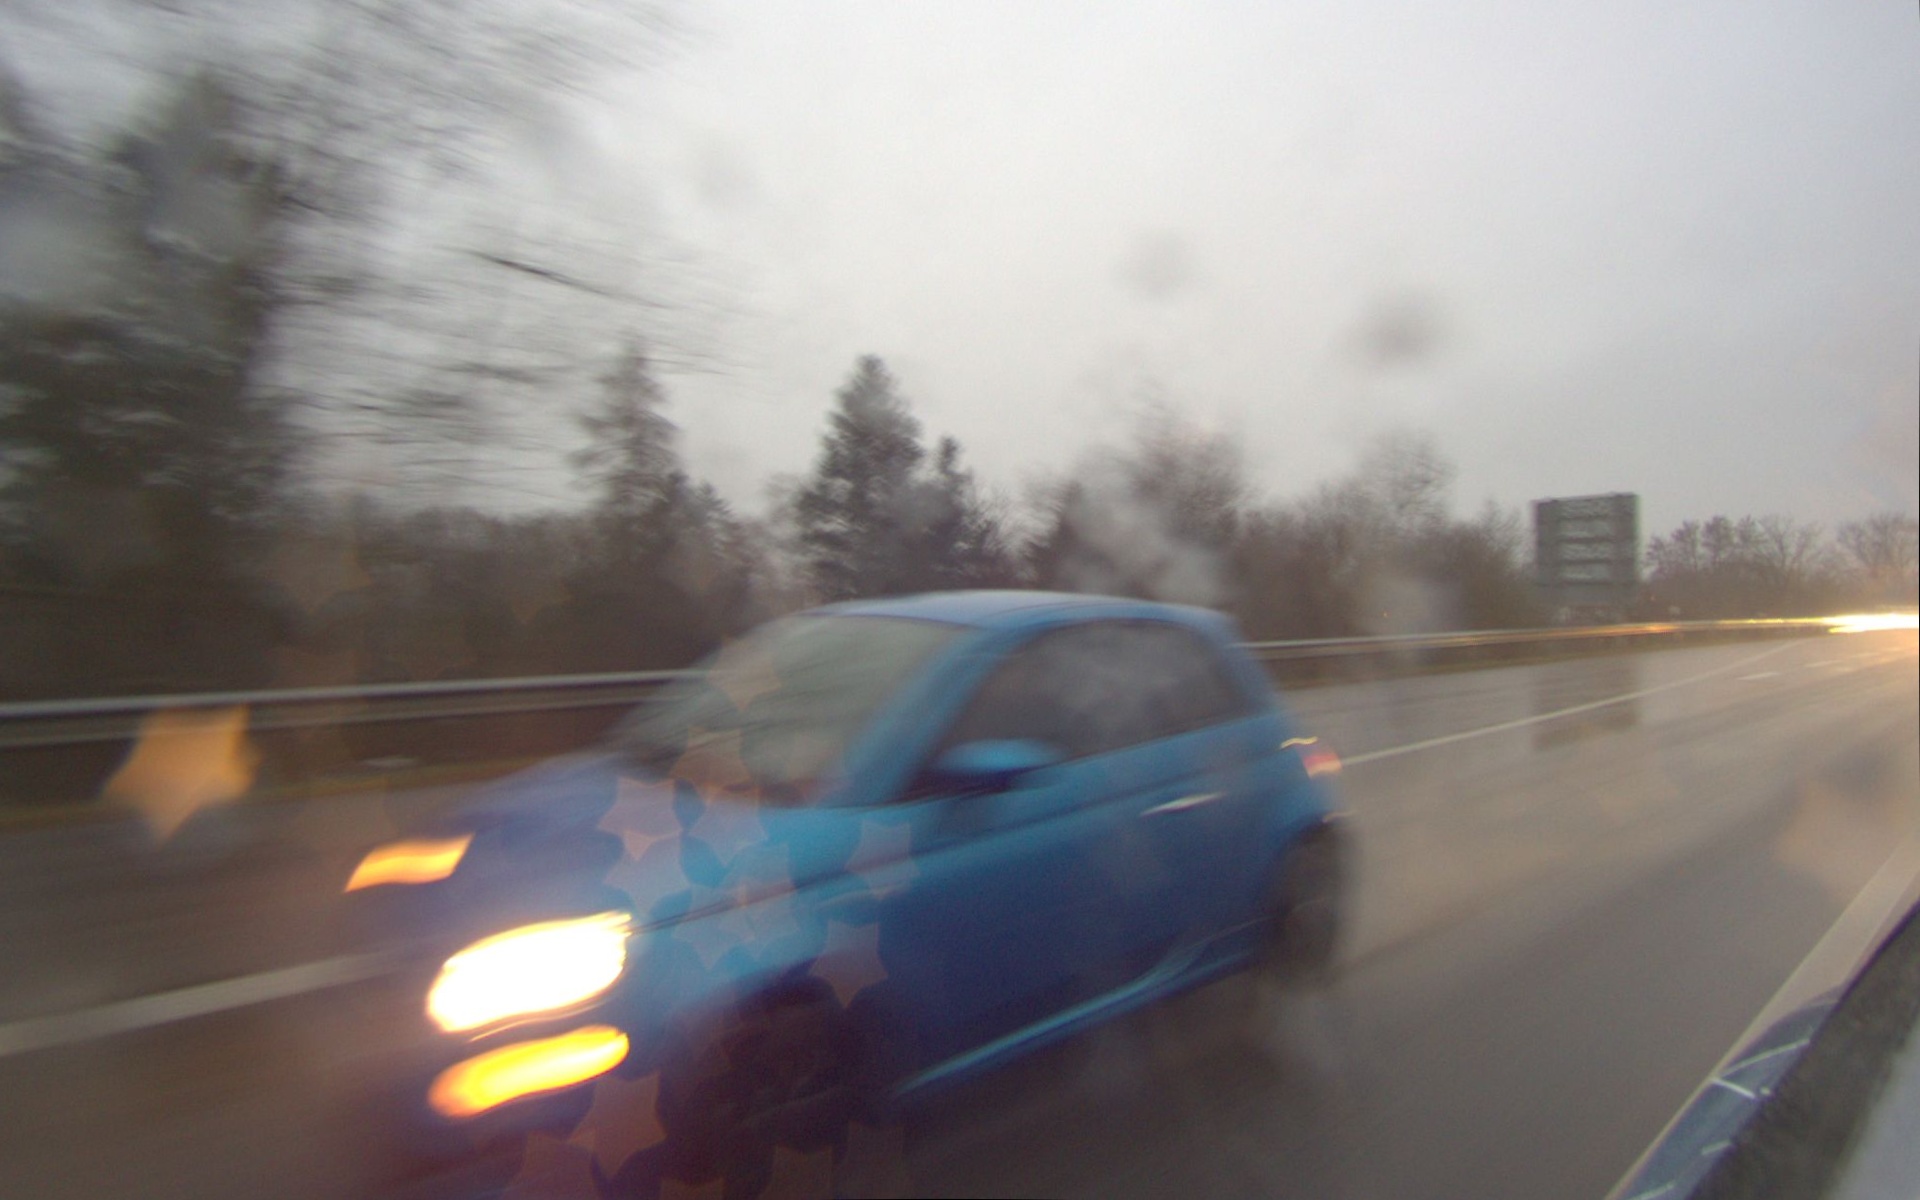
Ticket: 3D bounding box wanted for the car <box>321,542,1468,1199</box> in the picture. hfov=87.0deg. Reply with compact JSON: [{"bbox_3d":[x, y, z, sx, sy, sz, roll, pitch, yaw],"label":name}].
[{"bbox_3d":[0.120,0.582,3.843,4.077,1.471,1.848,-2,1,-41],"label":"car"}]
